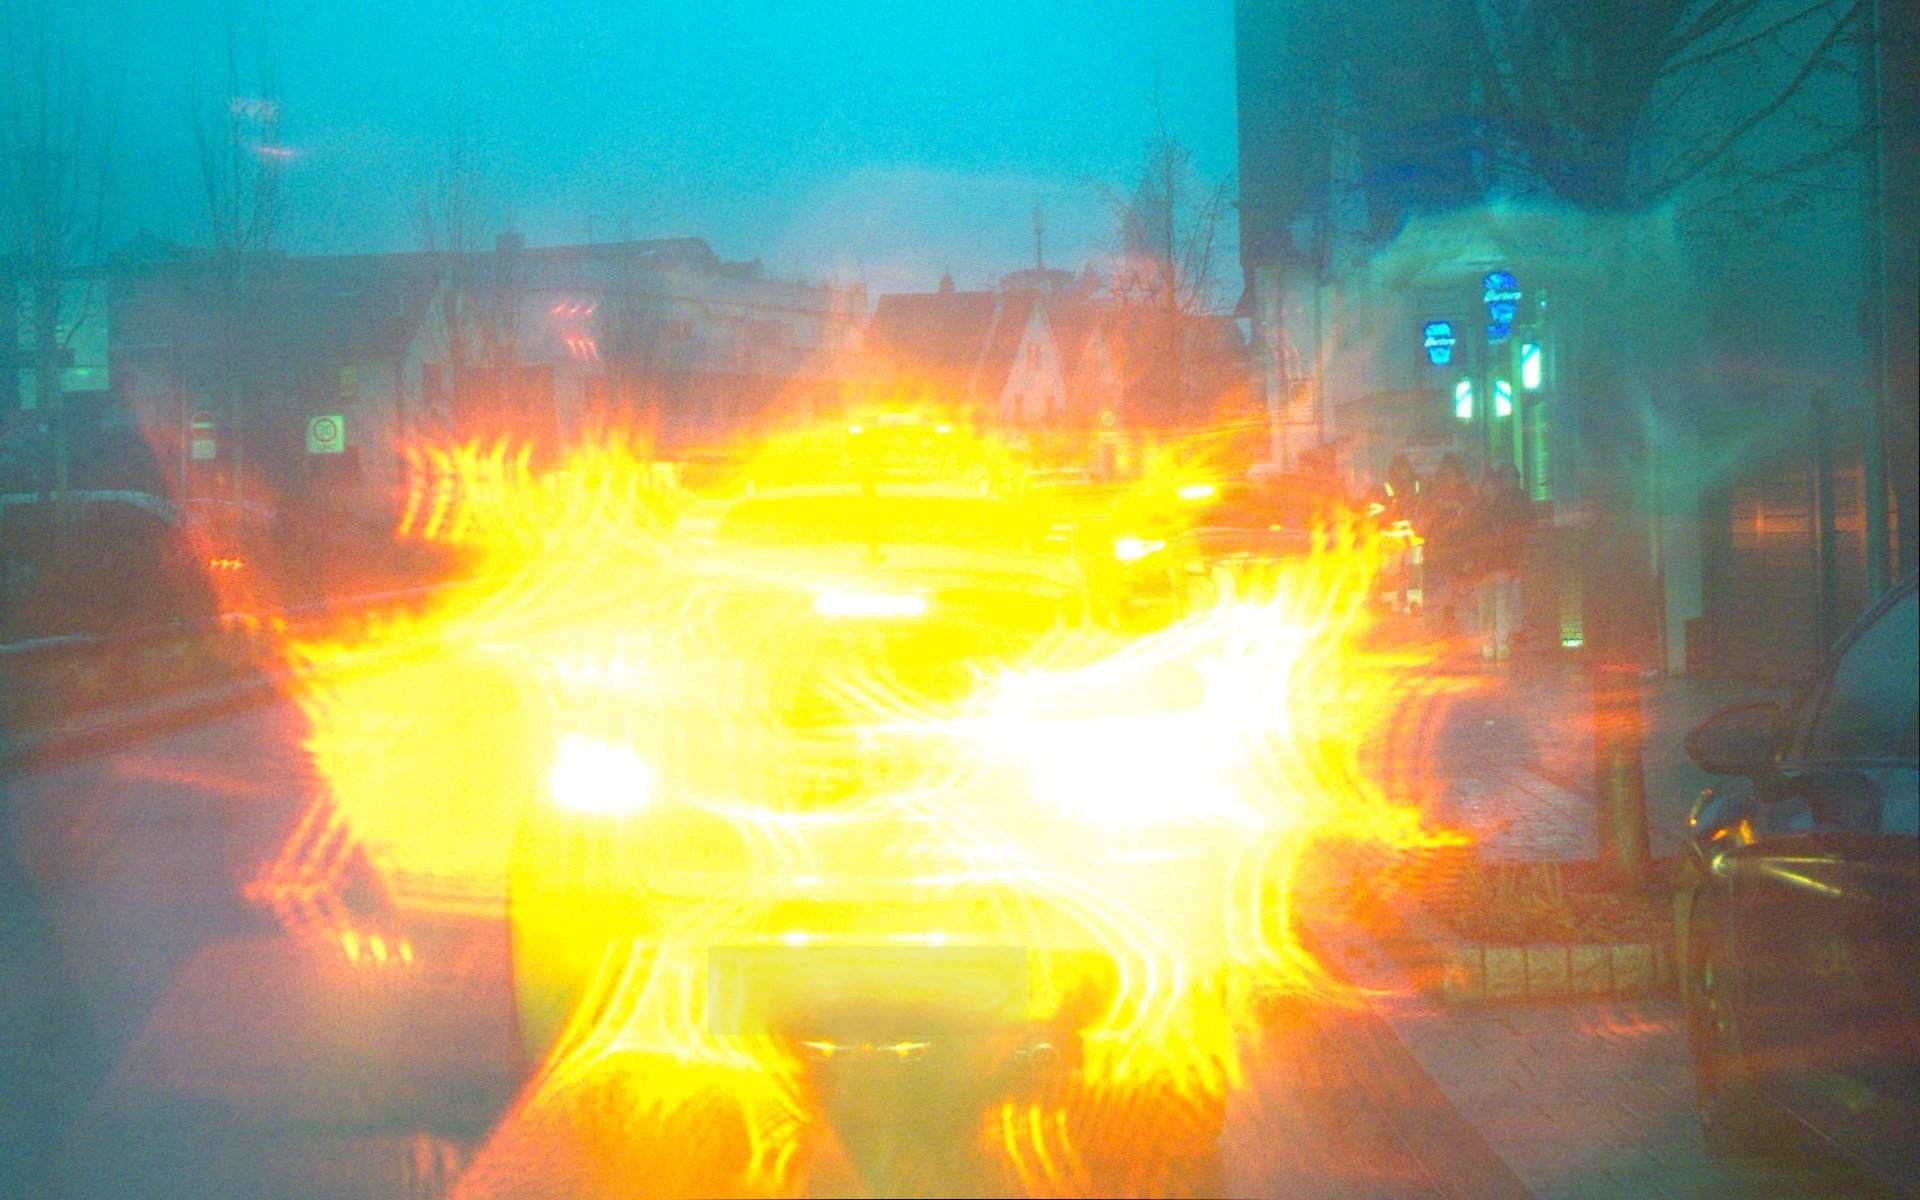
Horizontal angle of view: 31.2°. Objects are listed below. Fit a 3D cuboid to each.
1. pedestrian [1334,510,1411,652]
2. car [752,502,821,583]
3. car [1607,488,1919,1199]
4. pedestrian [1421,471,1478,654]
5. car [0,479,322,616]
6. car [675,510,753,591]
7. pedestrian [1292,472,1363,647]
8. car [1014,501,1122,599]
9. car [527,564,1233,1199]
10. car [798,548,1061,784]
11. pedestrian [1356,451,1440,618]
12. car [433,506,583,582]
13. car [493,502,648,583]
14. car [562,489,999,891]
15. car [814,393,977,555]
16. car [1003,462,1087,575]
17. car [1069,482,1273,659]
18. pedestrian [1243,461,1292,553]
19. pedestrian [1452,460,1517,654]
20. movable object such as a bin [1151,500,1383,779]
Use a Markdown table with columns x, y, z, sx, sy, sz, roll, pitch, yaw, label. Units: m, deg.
| x | y | z | sx | sy | sz | roll | pitch | yaw | label |
| --- | --- | --- | --- | --- | --- | --- | --- | --- | --- |
| 4.864 | -0.231 | 40.560 | 0.618 | 1.621 | 0.907 | -1 | 3 | -13 | pedestrian |
| -4.939 | -1.623 | 98.363 | 1.919 | 2.208 | 3.975 | 0 | -1 | -2 | car |
| 2.454 | 0.520 | 6.440 | 1.728 | 1.459 | 4.199 | -4 | 2 | 2 | car |
| 4.865 | -0.388 | 34.173 | 0.529 | 1.794 | 0.864 | 0 | 2 | 10 | pedestrian |
| -10.502 | -0.661 | 43.228 | 4.625 | 1.662 | 2.000 | 0 | 1 | -2 | car |
| -6.450 | -1.271 | 90.448 | 1.919 | 2.020 | 3.975 | 0 | -1 | -2 | car |
| 3.656 | -0.406 | 34.267 | 0.573 | 1.694 | 0.653 | -3 | 1 | 1 | pedestrian |
| 2.086 | -0.983 | 67.585 | 1.997 | 1.858 | 4.083 | 0 | 1 | 0 | car |
| -0.189 | 0.640 | 9.168 | 1.563 | 1.408 | 3.018 | 0 | 2 | 0 | car |
| -0.193 | 0.361 | 21.866 | 1.541 | 1.327 | 3.311 | 0 | 2 | 0 | car |
| 4.597 | -0.696 | 36.065 | 0.712 | 1.709 | 1.034 | -2 | 2 | 13 | pedestrian |
| -12.341 | -1.494 | 93.755 | 4.166 | 1.969 | 1.818 | 0 | -1 | 44 | car |
| -11.026 | -1.601 | 97.062 | 4.383 | 2.159 | 1.995 | 0 | -1 | 44 | car |
| -0.746 | 0.314 | 15.770 | 1.766 | 1.623 | 3.586 | 0 | 2 | 0 | car |
| -1.311 | -2.529 | 70.901 | 3.190 | 3.021 | 6.305 | 0 | -1 | -1 | car |
| 1.957 | -1.868 | 79.986 | 1.870 | 2.460 | 4.443 | 0 | -1 | 1 | car |
| 2.126 | -0.342 | 35.647 | 1.735 | 1.686 | 4.387 | -1 | 1 | -1 | car |
| 5.158 | -1.569 | 57.723 | 0.618 | 1.510 | 0.734 | -1 | 3 | -13 | pedestrian |
| 4.538 | -0.359 | 29.696 | 0.529 | 1.647 | 0.953 | 0 | -1 | 10 | pedestrian |
| 1.703 | 0.196 | 19.343 | 1.129 | 1.415 | 1.417 | -4 | 2 | 2 | movable object such as a bin |
